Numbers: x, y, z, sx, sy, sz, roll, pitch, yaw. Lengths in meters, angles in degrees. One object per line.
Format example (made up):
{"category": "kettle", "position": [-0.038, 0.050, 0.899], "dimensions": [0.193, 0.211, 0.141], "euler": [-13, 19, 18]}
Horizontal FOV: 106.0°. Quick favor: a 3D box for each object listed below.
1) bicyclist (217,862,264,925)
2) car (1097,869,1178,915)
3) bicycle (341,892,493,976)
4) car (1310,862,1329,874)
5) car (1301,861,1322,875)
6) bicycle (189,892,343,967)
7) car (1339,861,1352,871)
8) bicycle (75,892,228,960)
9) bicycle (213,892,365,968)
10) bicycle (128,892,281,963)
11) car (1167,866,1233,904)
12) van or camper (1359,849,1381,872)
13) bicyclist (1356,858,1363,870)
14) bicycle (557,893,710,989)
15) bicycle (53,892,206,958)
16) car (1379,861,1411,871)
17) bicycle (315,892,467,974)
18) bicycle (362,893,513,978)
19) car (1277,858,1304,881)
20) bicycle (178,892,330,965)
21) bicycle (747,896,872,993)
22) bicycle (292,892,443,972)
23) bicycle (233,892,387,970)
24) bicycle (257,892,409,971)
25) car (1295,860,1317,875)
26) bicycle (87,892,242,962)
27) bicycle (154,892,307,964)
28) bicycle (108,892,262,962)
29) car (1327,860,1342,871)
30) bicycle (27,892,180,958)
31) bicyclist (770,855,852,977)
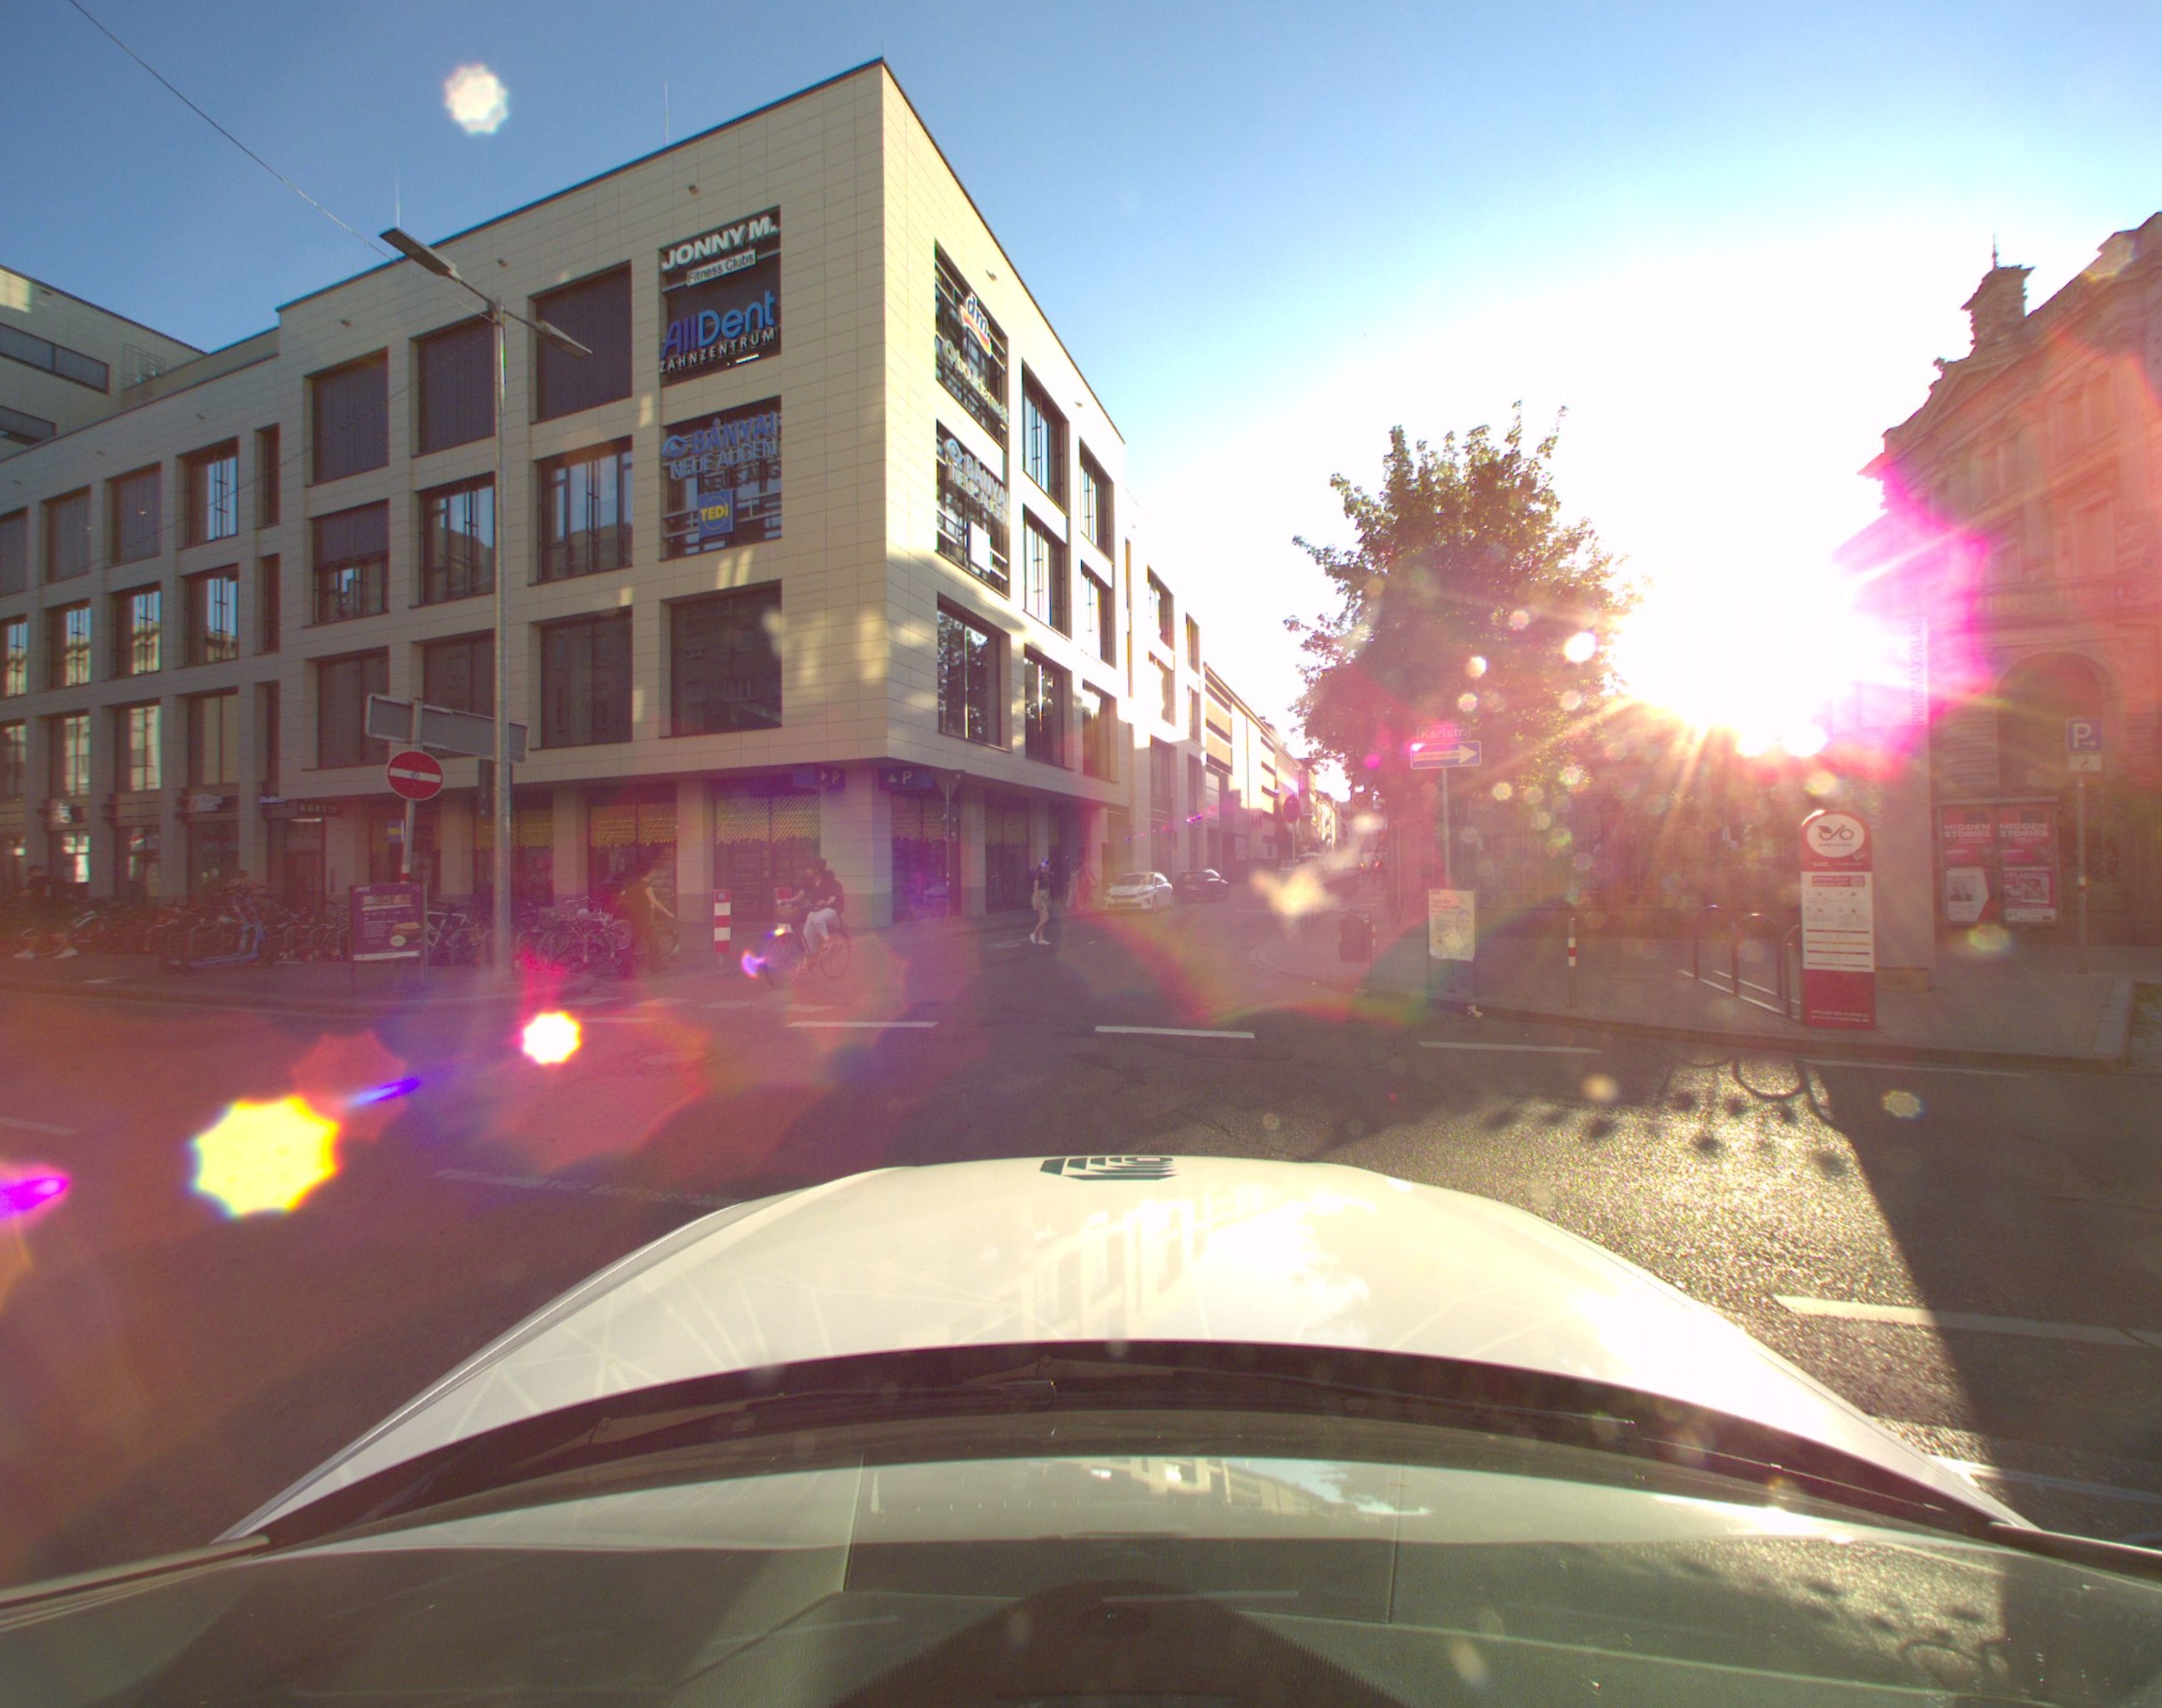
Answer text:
{"category": "bicyclist", "position": [-23.136, 1.081, 22.413], "dimensions": [0.637, 1.695, 0.688], "euler": [-1, -1, 21]}
{"category": "car", "position": [2.063, 1.279, 28.610], "dimensions": [1.763, 1.453, 4.251], "euler": [-1, -1, 19]}
{"category": "bicycle", "position": [-11.127, 1.303, 13.746], "dimensions": [0.507, 1.255, 1.988], "euler": [-1, -1, 19]}
{"category": "car", "position": [28.324, 1.648, 96.649], "dimensions": [1.868, 1.453, 4.019], "euler": [-1, -1, 19]}
{"category": "car", "position": [25.078, 1.550, 88.476], "dimensions": [1.868, 1.453, 4.019], "euler": [-1, -1, 19]}
{"category": "bicycle", "position": [-15.156, 1.365, 15.227], "dimensions": [0.507, 1.255, 1.988], "euler": [-1, -1, 19]}
{"category": "car", "position": [48.724, 2.253, 150.137], "dimensions": [1.976, 1.684, 4.020], "euler": [-1, -1, 21]}
{"category": "bicycle", "position": [-18.969, 1.425, 16.688], "dimensions": [0.507, 1.255, 1.988], "euler": [-1, -1, 19]}
{"category": "bicycle", "position": [-14.574, 1.357, 15.070], "dimensions": [0.507, 1.255, 1.988], "euler": [-1, -1, 19]}
{"category": "bicycle", "position": [-17.092, 1.395, 15.955], "dimensions": [0.507, 1.255, 1.988], "euler": [-1, -1, 19]}
{"category": "car", "position": [5.506, 1.357, 37.167], "dimensions": [1.867, 1.598, 4.715], "euler": [-1, -1, 23]}
{"category": "van or camper", "position": [36.351, 0.880, 102.506], "dimensions": [2.238, 2.607, 5.138], "euler": [-6, -3, 21]}
{"category": "bicyclist", "position": [45.993, 1.653, 134.462], "dimensions": [0.981, 1.869, 0.712], "euler": [-1, -2, 21]}
{"category": "bicycle", "position": [-6.636, 1.238, 12.230], "dimensions": [0.658, 1.255, 2.150], "euler": [-1, -1, 17]}
{"category": "bicycle", "position": [-19.740, 1.436, 16.963], "dimensions": [0.507, 1.255, 1.988], "euler": [-1, -1, 19]}
{"category": "car", "position": [43.080, 1.658, 111.799], "dimensions": [3.953, 1.420, 1.665], "euler": [-1, -2, 21]}
{"category": "bicycle", "position": [-11.787, 1.314, 14.007], "dimensions": [0.507, 1.255, 1.988], "euler": [-1, -1, 19]}
{"category": "bicycle", "position": [-10.604, 1.295, 13.530], "dimensions": [0.507, 1.255, 1.988], "euler": [-1, -1, 19]}
{"category": "car", "position": [18.868, 1.365, 73.190], "dimensions": [1.868, 1.912, 4.771], "euler": [-1, -1, 19]}
{"category": "bicycle", "position": [-15.733, 1.377, 15.565], "dimensions": [0.507, 1.255, 1.988], "euler": [-1, -1, 19]}
{"category": "bicycle", "position": [-3.607, 1.164, 11.017], "dimensions": [0.658, 1.138, 1.830], "euler": [-1, -1, 17]}
{"category": "bicycle", "position": [-12.472, 1.326, 14.334], "dimensions": [0.507, 1.255, 1.988], "euler": [-1, -1, 19]}
{"category": "bicycle", "position": [-13.868, 1.345, 14.743], "dimensions": [0.507, 1.255, 1.988], "euler": [-1, -1, 19]}
{"category": "bicycle", "position": [-13.275, 1.337, 14.547], "dimensions": [0.507, 1.255, 1.988], "euler": [-1, -1, 17]}
{"category": "car", "position": [23.191, 1.386, 83.888], "dimensions": [1.868, 1.453, 4.019], "euler": [-1, -1, 19]}
{"category": "bicycle", "position": [-18.264, 1.411, 16.297], "dimensions": [0.507, 1.255, 1.988], "euler": [-1, -1, 19]}
{"category": "bicycle", "position": [-16.379, 1.386, 15.767], "dimensions": [0.507, 1.255, 1.988], "euler": [-1, -1, 19]}
{"category": "bicycle", "position": [-17.660, 1.403, 16.132], "dimensions": [0.507, 1.255, 1.988], "euler": [-1, -1, 19]}
{"category": "car", "position": [40.288, 1.843, 129.254], "dimensions": [1.976, 1.684, 4.020], "euler": [-1, -1, 21]}
{"category": "bicycle", "position": [-20.469, 1.445, 17.120], "dimensions": [0.507, 1.255, 1.988], "euler": [-1, -1, 19]}
{"category": "bicyclist", "position": [-3.624, 0.813, 10.986], "dimensions": [0.653, 1.571, 0.867], "euler": [-1, -2, 17]}
